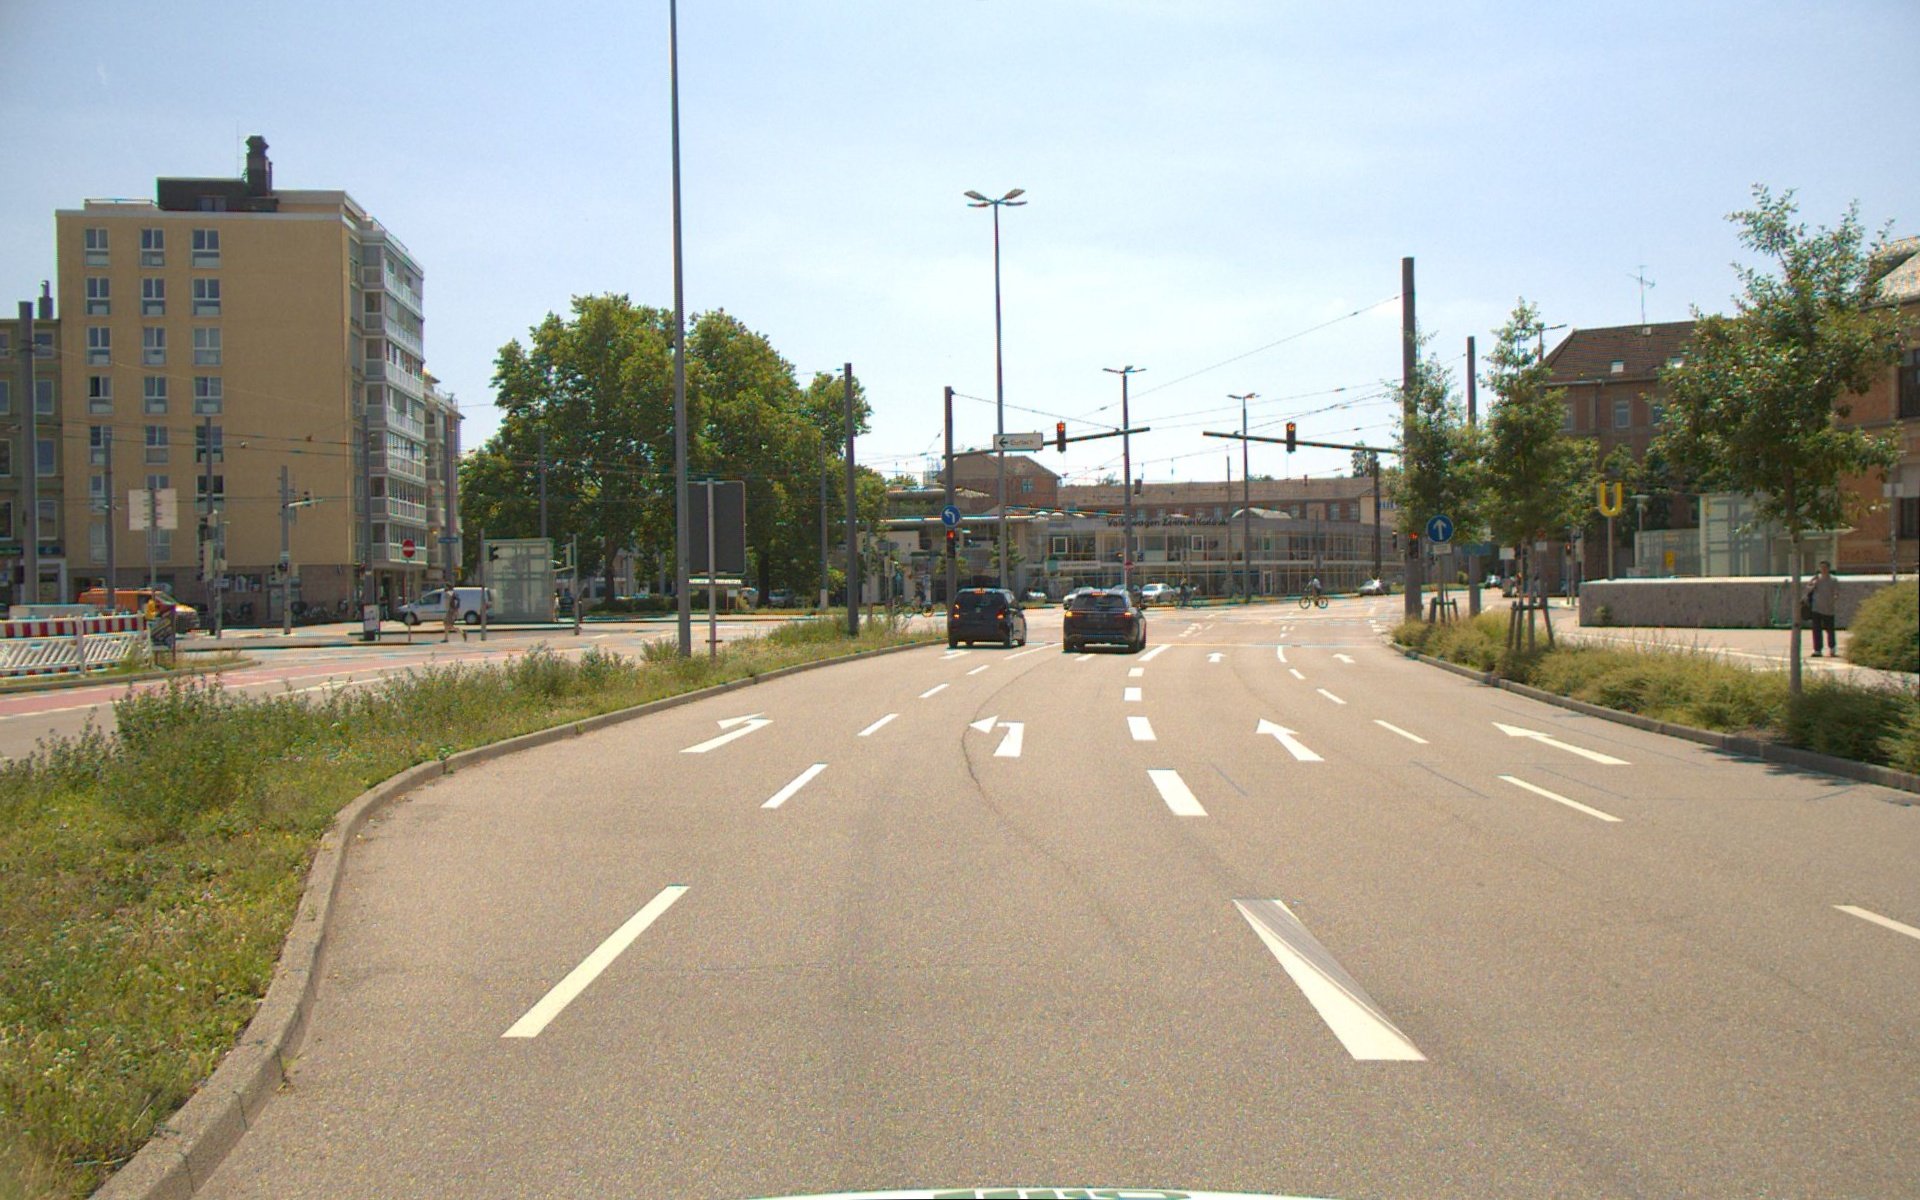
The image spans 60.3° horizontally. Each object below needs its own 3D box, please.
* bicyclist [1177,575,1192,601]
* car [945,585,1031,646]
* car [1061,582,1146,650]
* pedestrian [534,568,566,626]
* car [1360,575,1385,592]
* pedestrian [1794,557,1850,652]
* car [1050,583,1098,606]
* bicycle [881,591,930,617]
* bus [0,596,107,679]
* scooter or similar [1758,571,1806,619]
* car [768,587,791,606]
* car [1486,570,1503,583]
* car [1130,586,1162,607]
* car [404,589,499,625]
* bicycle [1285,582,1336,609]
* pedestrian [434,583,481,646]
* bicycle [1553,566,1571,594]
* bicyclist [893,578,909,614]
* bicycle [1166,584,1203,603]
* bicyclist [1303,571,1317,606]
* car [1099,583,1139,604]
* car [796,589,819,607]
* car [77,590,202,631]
[{"bbox_3d":[13.350,-0.698,98.431,0.718,1.505,0.655,-1,2,-8],"label":"bicyclist"},{"bbox_3d":[0.768,0.370,42.550,1.586,1.489,4.004,0,0,10],"label":"car"},{"bbox_3d":[3.605,0.357,40.920,1.680,1.584,4.591,-1,0,10],"label":"car"},{"bbox_3d":[-21.596,-0.181,87.225,1.188,2.989,1.337,0,2,7],"label":"pedestrian"},{"bbox_3d":[38.439,-1.557,154.096,1.540,1.452,3.611,1,3,26],"label":"car"},{"bbox_3d":[15.978,0.066,30.664,0.716,1.735,0.811,0,1,12],"label":"pedestrian"},{"bbox_3d":[7.346,-0.375,105.915,1.588,1.414,4.120,-1,0,27],"label":"car"},{"bbox_3d":[-3.099,0.230,94.289,2.716,1.409,0.671,0,2,3],"label":"bicycle"},{"bbox_3d":[-16.880,0.697,28.290,1.218,1.271,5.825,0,2,3],"label":"bus"},{"bbox_3d":[21.211,-0.148,42.705,0.389,1.187,1.286,-1,2,-12],"label":"scooter or similar"},{"bbox_3d":[-16.138,-0.324,147.913,1.394,1.534,3.441,0,2,5],"label":"car"},{"bbox_3d":[67.232,-2.946,208.070,1.498,1.484,3.556,0,2,10],"label":"car"},{"bbox_3d":[13.132,-0.248,116.971,1.402,1.307,3.261,0,3,23],"label":"car"},{"bbox_3d":[-25.286,0.345,82.362,4.227,1.655,1.811,-1,2,-10],"label":"car"},{"bbox_3d":[19.525,-0.235,92.186,2.765,1.488,0.634,0,2,8],"label":"bicycle"},{"bbox_3d":[-16.065,0.454,52.883,1.154,1.966,0.903,0,2,4],"label":"pedestrian"},{"bbox_3d":[41.825,-1.386,114.919,0.599,1.819,3.185,0,2,11],"label":"bicycle"},{"bbox_3d":[-3.363,-0.246,94.278,0.828,1.999,0.627,0,2,3],"label":"bicyclist"},{"bbox_3d":[13.361,-0.382,98.425,2.120,1.126,0.456,-1,2,-8],"label":"bicycle"},{"bbox_3d":[19.505,-0.643,92.174,0.747,1.971,0.661,0,2,9],"label":"bicyclist"},{"bbox_3d":[10.752,-0.447,111.641,1.508,1.300,3.535,1,3,27],"label":"car"},{"bbox_3d":[-13.564,-0.217,146.962,1.478,1.443,3.424,0,2,5],"label":"car"},{"bbox_3d":[-35.750,0.459,72.126,4.532,1.641,1.675,-1,2,-5],"label":"car"}]
